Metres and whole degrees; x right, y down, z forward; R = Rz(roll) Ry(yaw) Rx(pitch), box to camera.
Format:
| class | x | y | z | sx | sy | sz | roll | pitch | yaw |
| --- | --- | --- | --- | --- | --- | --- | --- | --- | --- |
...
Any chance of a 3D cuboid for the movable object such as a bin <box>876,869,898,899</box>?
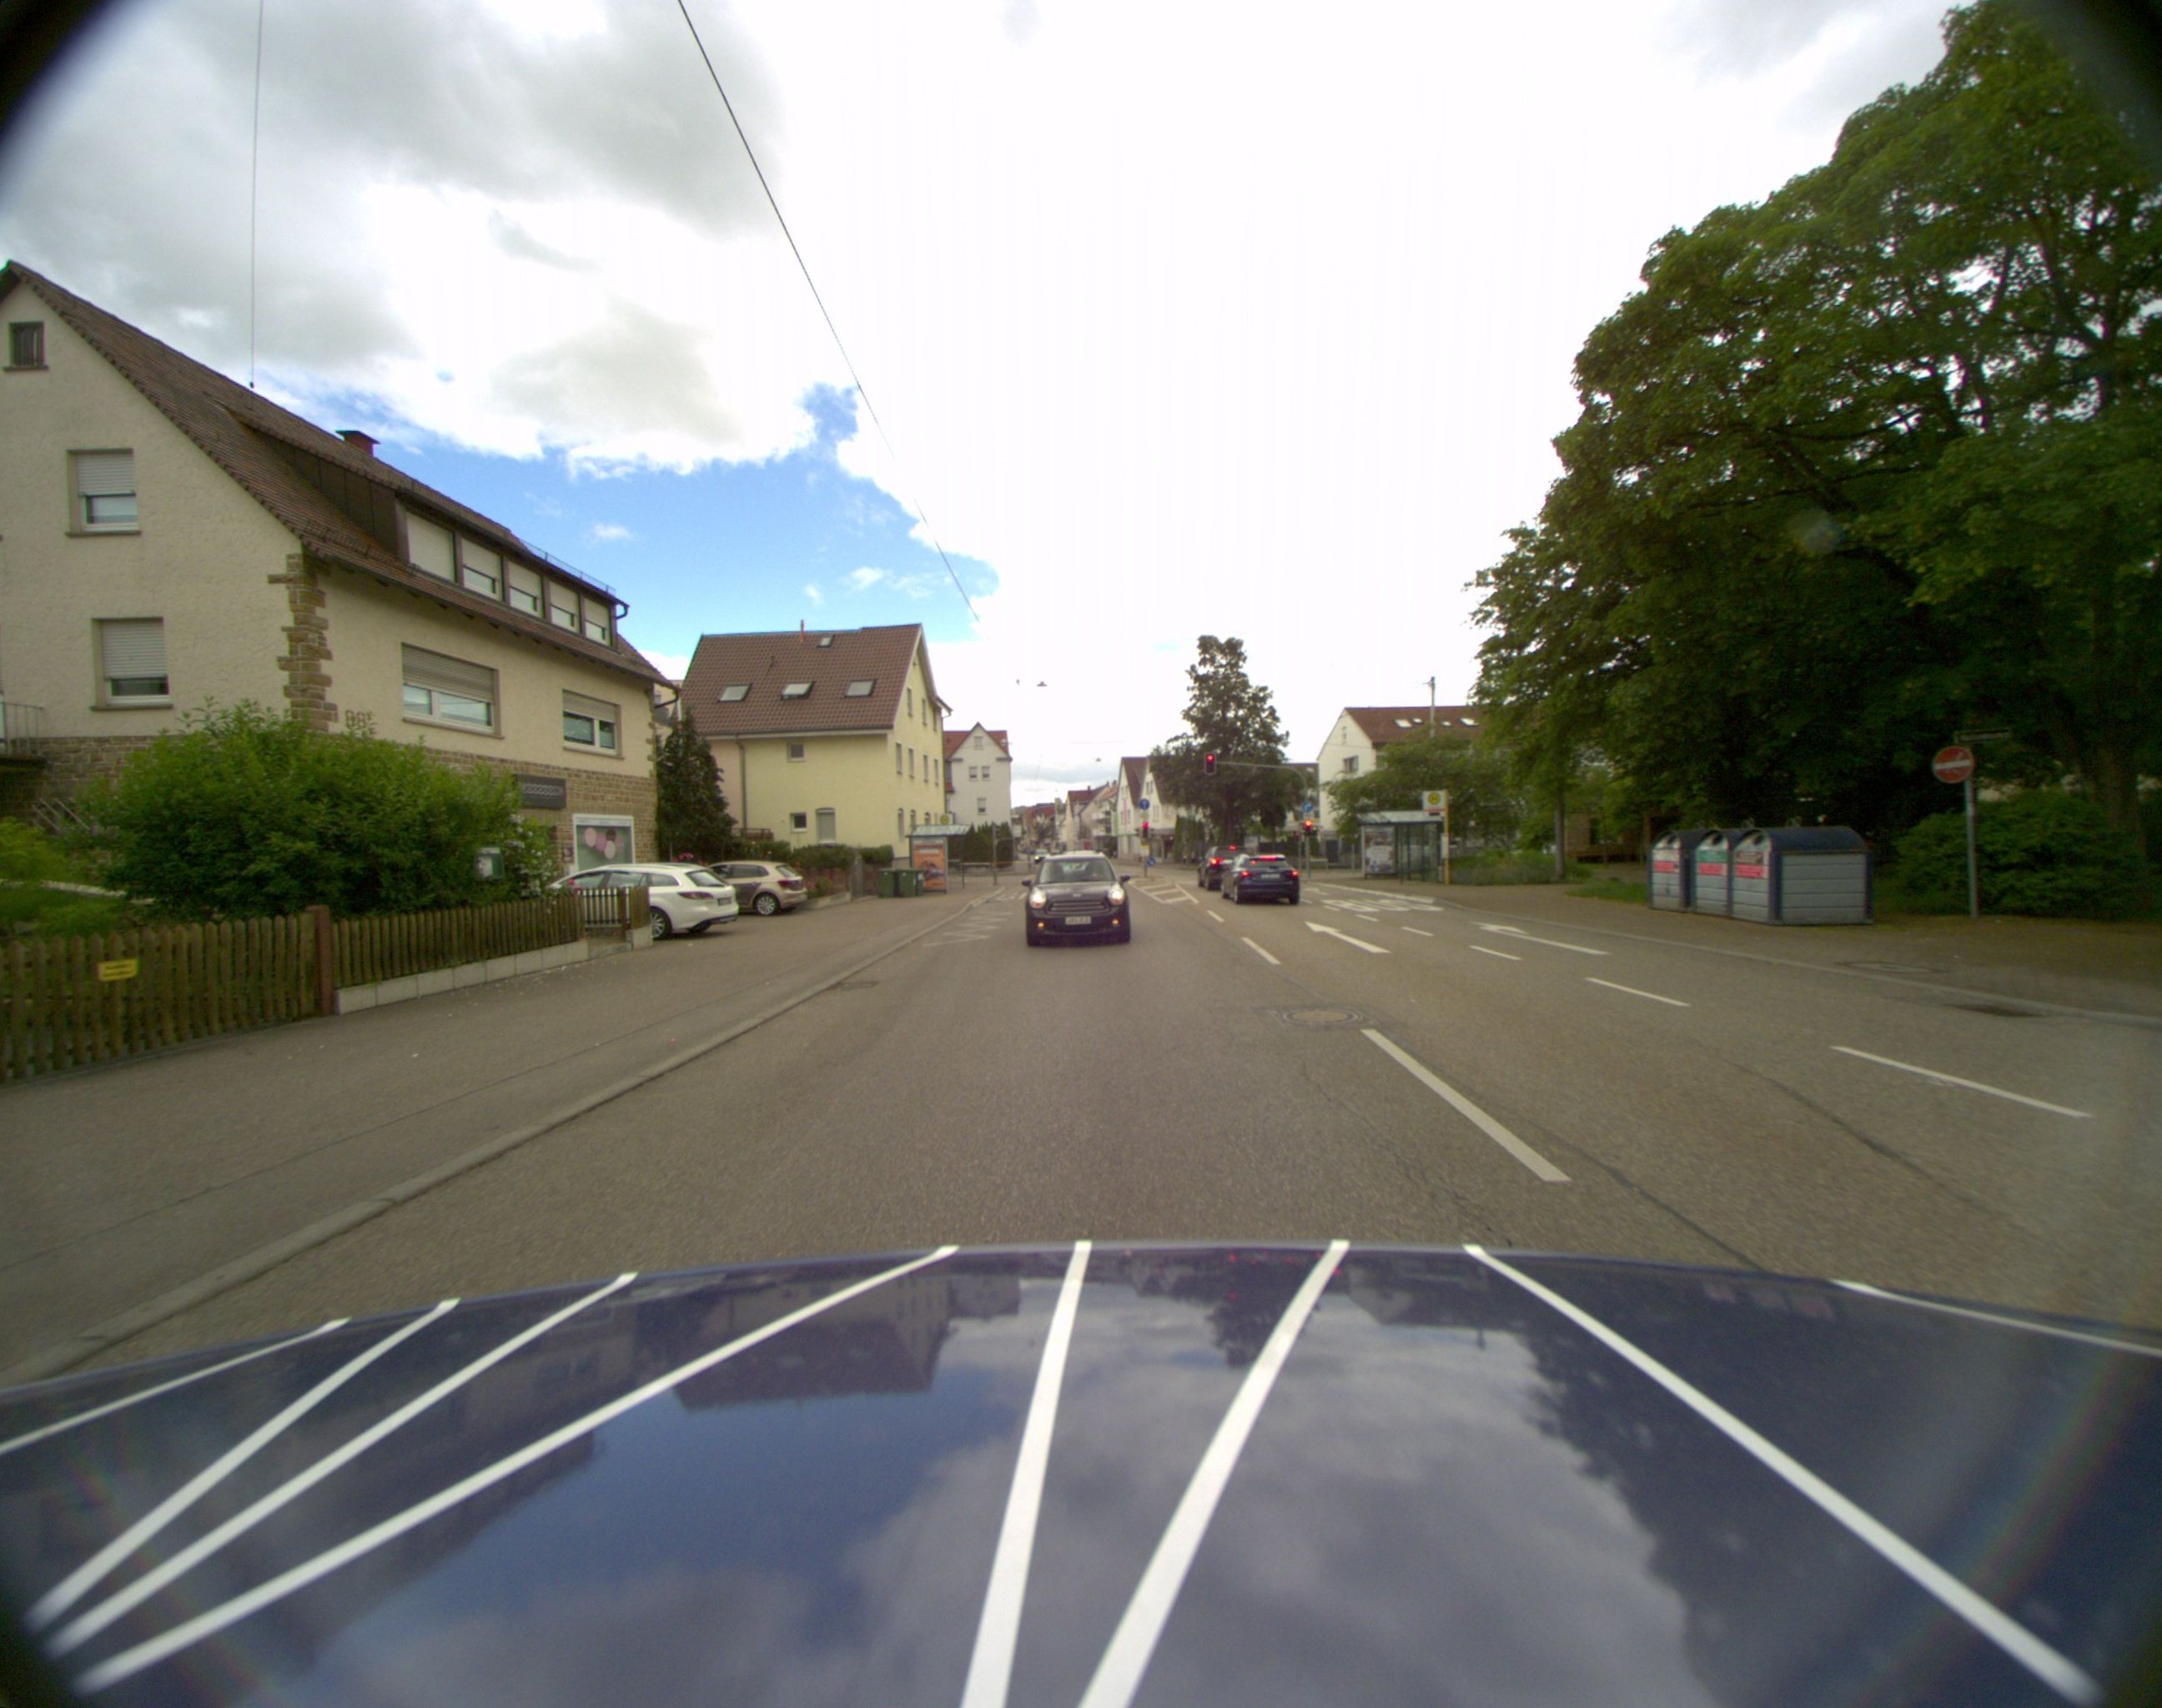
| class | x | y | z | sx | sy | sz | roll | pitch | yaw |
| --- | --- | --- | --- | --- | --- | --- | --- | --- | --- |
| movable object such as a bin | -7.049 | 1.088 | 27.650 | 0.638 | 1.041 | 0.585 | -2 | 2 | -5 |

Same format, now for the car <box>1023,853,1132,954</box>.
| class | x | y | z | sx | sy | sz | roll | pitch | yaw |
| --- | --- | --- | --- | --- | --- | --- | --- | --- | --- |
| car | -0.072 | 0.797 | 14.201 | 1.693 | 1.507 | 3.999 | -2 | 1 | 0 |

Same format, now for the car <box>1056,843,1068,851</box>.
| class | x | y | z | sx | sy | sz | roll | pitch | yaw |
| --- | --- | --- | --- | --- | --- | --- | --- | --- | --- |
| car | -3.429 | -1.275 | 136.633 | 1.635 | 1.404 | 3.995 | -1 | 1 | -11 |

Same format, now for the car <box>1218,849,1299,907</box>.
| class | x | y | z | sx | sy | sz | roll | pitch | yaw |
| --- | --- | --- | --- | --- | --- | --- | --- | --- | --- |
| car | 5.159 | 0.635 | 22.575 | 1.567 | 1.412 | 4.129 | -2 | 2 | 2 |

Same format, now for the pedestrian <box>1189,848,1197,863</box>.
| class | x | y | z | sx | sy | sz | roll | pitch | yaw |
| --- | --- | --- | --- | --- | --- | --- | --- | --- | --- |
| pedestrian | 9.748 | 0.147 | 66.156 | 0.383 | 1.255 | 0.549 | -4 | 2 | -18 |

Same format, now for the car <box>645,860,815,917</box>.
| class | x | y | z | sx | sy | sz | roll | pitch | yaw |
| --- | --- | --- | --- | --- | --- | --- | --- | --- | --- |
| car | -9.385 | 0.908 | 20.538 | 3.813 | 1.394 | 1.639 | 0 | 2 | -2 |

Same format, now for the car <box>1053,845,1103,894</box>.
| class | x | y | z | sx | sy | sz | roll | pitch | yaw |
| --- | --- | --- | --- | --- | --- | --- | --- | --- | --- |
| car | -0.115 | 0.567 | 31.055 | 1.811 | 1.556 | 4.615 | -3 | 3 | 0 |

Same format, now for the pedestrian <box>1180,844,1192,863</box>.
| class | x | y | z | sx | sy | sz | roll | pitch | yaw |
| --- | --- | --- | --- | --- | --- | --- | --- | --- | --- |
| pedestrian | 9.093 | -0.011 | 66.100 | 0.642 | 1.596 | 0.865 | -4 | 2 | -18 |

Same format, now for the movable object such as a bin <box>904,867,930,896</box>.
| class | x | y | z | sx | sy | sz | roll | pitch | yaw |
| --- | --- | --- | --- | --- | --- | --- | --- | --- | --- |
| movable object such as a bin | -6.127 | 1.025 | 28.431 | 0.636 | 1.041 | 0.592 | -2 | 3 | 28 |

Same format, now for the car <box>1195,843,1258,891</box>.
| class | x | y | z | sx | sy | sz | roll | pitch | yaw |
| --- | --- | --- | --- | --- | --- | --- | --- | --- | --- |
| car | 5.631 | 0.443 | 29.926 | 1.762 | 1.626 | 4.594 | 0 | 2 | 3 |

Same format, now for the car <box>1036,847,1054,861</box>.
| class | x | y | z | sx | sy | sz | roll | pitch | yaw |
| --- | --- | --- | --- | --- | --- | --- | --- | --- | --- |
| car | -4.399 | -0.024 | 92.541 | 1.847 | 1.510 | 3.996 | -3 | 2 | -7 |

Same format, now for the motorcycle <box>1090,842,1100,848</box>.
| class | x | y | z | sx | sy | sz | roll | pitch | yaw |
| --- | --- | --- | --- | --- | --- | --- | --- | --- | --- |
| motorcycle | 2.339 | -1.532 | 126.941 | 1.430 | 1.017 | 0.524 | -4 | 2 | -8 |

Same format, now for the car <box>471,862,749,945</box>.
| class | x | y | z | sx | sy | sz | roll | pitch | yaw |
| --- | --- | --- | --- | --- | --- | --- | --- | --- | --- |
| car | -9.333 | 0.942 | 15.321 | 4.430 | 1.480 | 1.864 | 0 | 2 | 2 |

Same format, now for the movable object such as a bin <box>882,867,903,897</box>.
| class | x | y | z | sx | sy | sz | roll | pitch | yaw |
| --- | --- | --- | --- | --- | --- | --- | --- | --- | --- |
| movable object such as a bin | -7.015 | 1.042 | 28.270 | 0.638 | 1.041 | 0.585 | -2 | 2 | -5 |

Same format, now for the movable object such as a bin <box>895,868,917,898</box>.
| class | x | y | z | sx | sy | sz | roll | pitch | yaw |
| --- | --- | --- | --- | --- | --- | --- | --- | --- | --- |
| movable object such as a bin | -6.363 | 1.050 | 27.696 | 0.638 | 1.041 | 0.585 | -3 | 2 | -5 |
